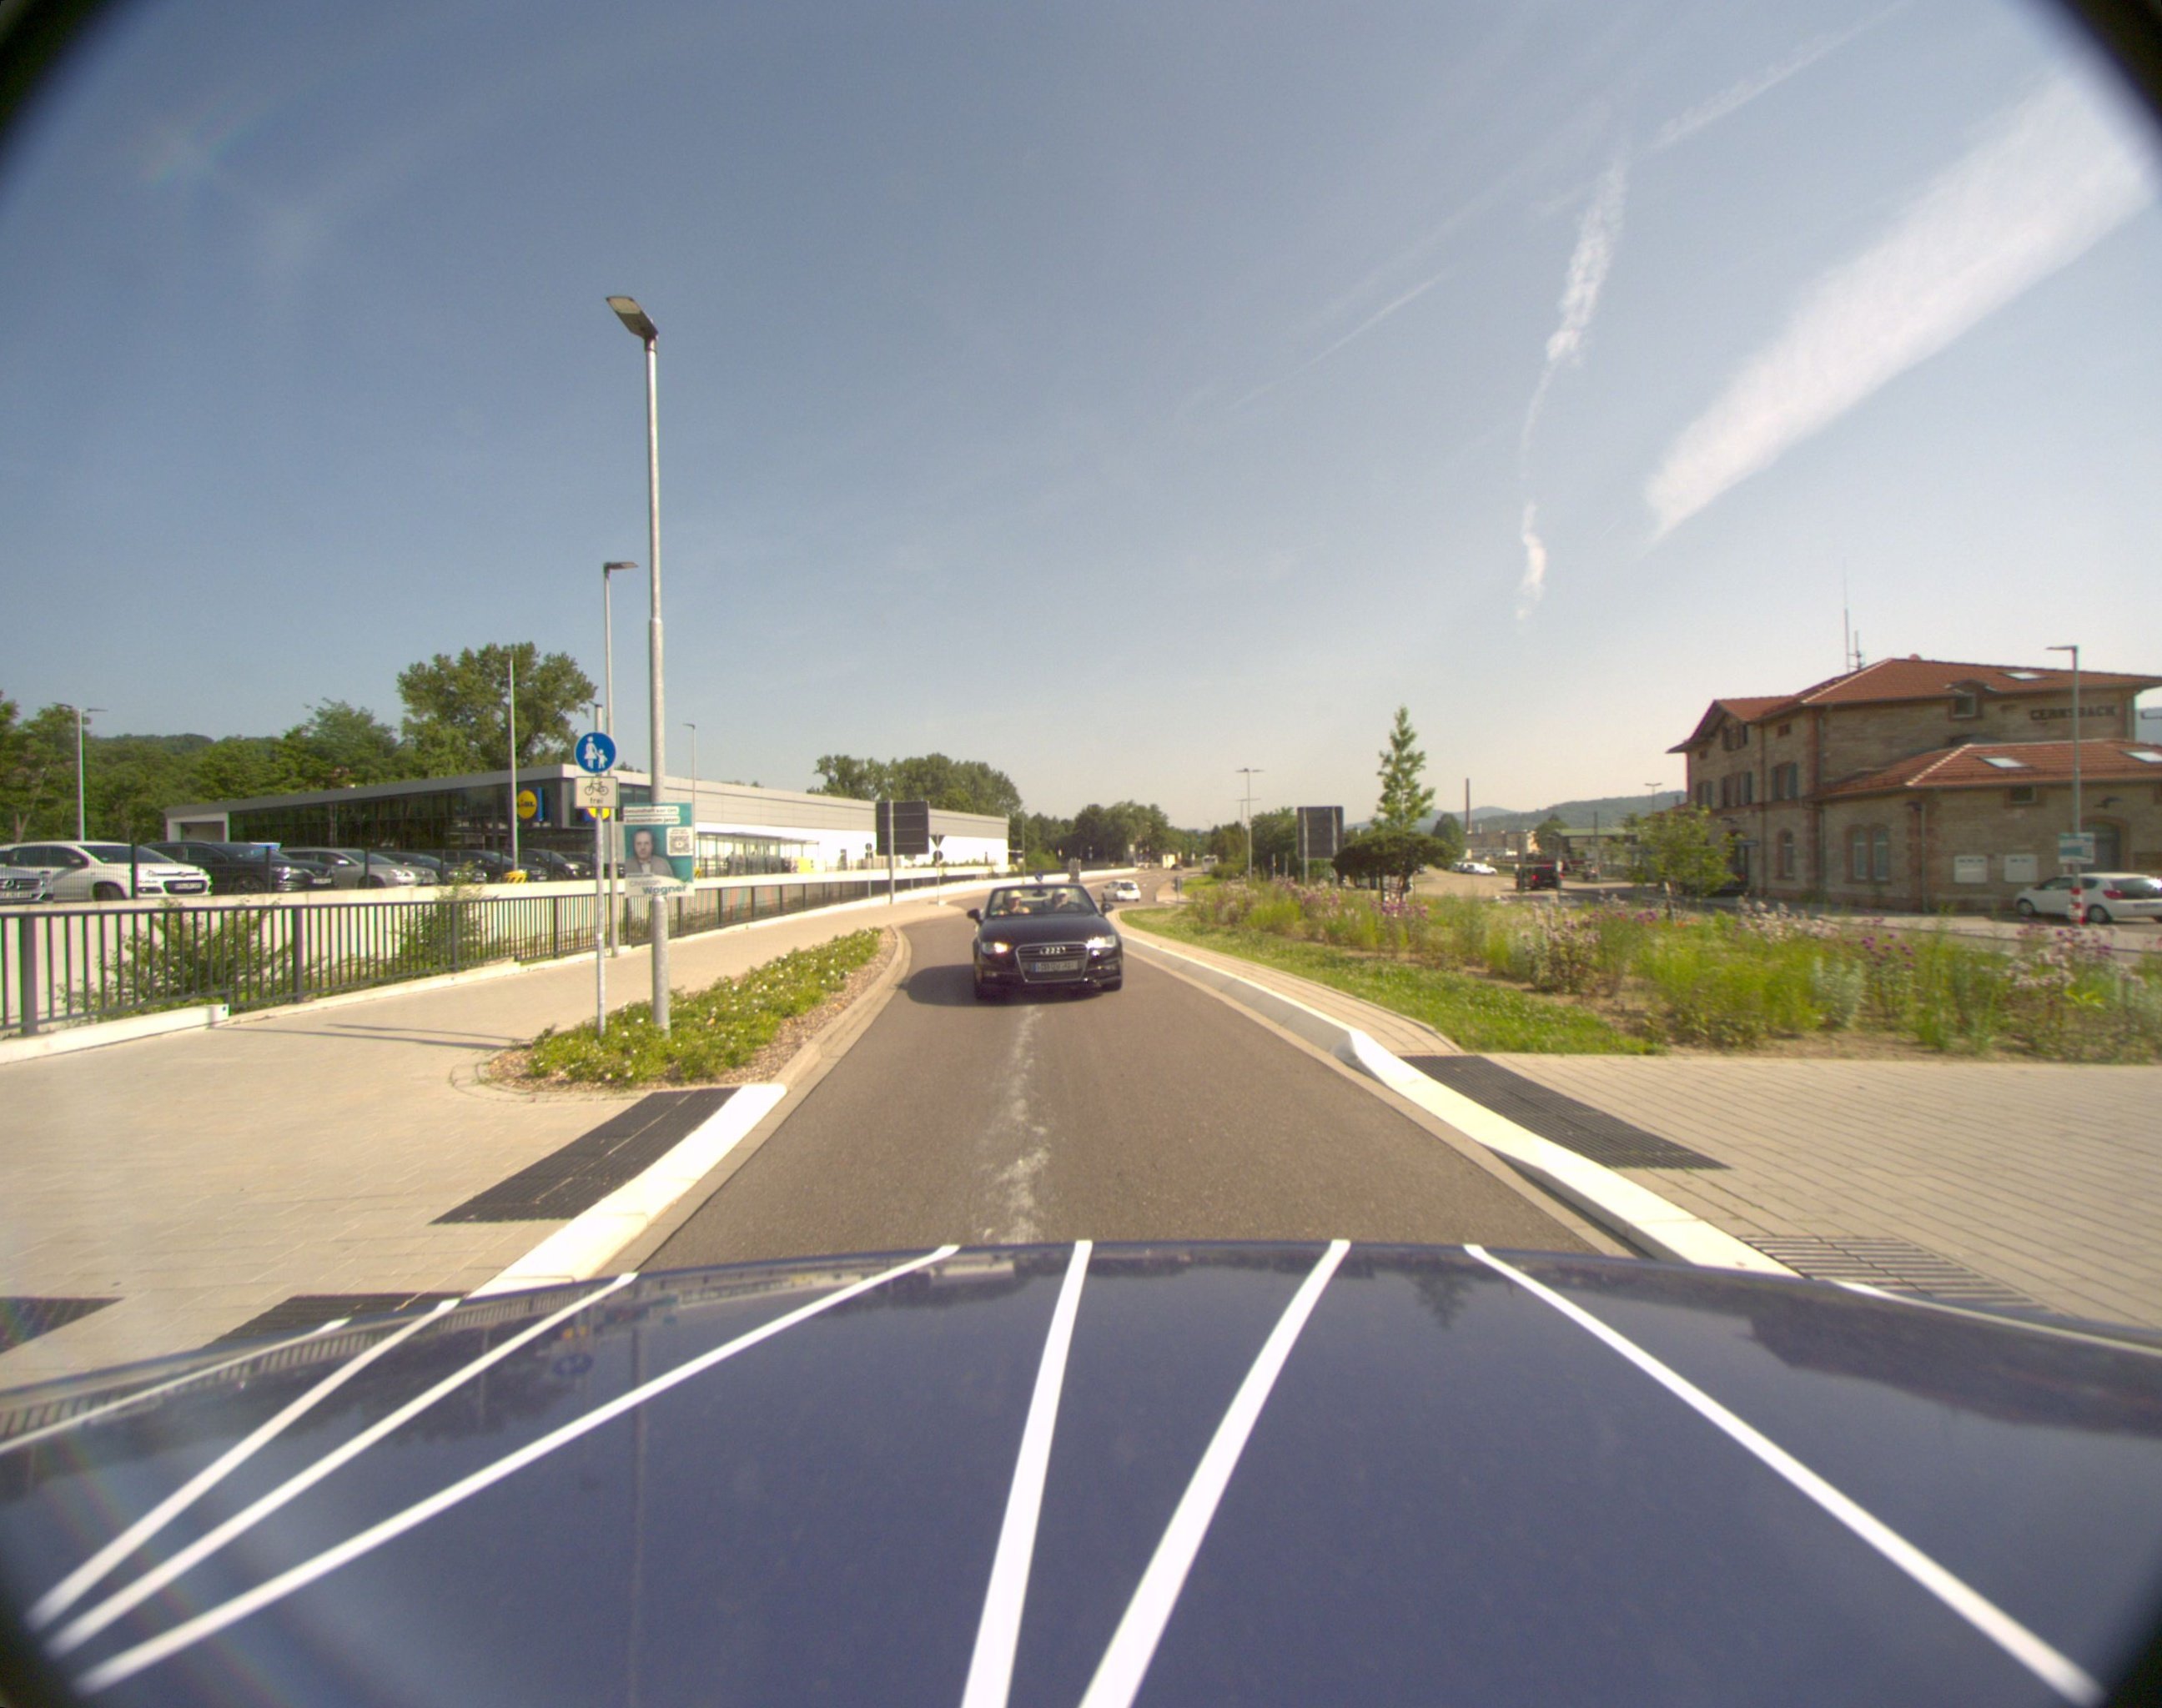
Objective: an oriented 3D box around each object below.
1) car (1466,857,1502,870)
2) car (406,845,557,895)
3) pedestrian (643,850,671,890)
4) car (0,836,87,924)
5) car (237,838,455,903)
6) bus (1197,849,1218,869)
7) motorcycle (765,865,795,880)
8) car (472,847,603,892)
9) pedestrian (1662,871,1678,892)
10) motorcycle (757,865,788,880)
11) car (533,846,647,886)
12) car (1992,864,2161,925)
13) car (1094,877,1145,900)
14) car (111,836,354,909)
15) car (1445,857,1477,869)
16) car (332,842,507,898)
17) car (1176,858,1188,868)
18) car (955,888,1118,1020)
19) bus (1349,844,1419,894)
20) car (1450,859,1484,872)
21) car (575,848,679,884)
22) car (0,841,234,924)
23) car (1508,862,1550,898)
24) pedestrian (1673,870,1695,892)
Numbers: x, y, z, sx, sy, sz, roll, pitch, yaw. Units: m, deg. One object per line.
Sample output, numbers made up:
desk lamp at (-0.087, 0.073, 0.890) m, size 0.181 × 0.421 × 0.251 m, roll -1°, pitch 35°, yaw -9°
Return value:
car at (56.823, 1.341, 107.234) m, size 3.997 × 1.717 × 1.838 m, roll -3°, pitch 0°, yaw 0°
car at (-21.920, 0.578, 27.925) m, size 3.999 × 1.564 × 1.703 m, roll -3°, pitch 0°, yaw -6°
pedestrian at (-22.340, 0.831, 40.003) m, size 0.832 × 2.002 × 0.864 m, roll -3°, pitch 0°, yaw 10°
car at (-21.283, 0.584, 13.743) m, size 4.020 × 1.564 × 1.779 m, roll -3°, pitch 0°, yaw -3°
car at (-21.339, 0.474, 22.231) m, size 4.415 × 1.564 × 1.703 m, roll -3°, pitch 0°, yaw -6°
bus at (21.284, 0.824, 127.864) m, size 2.865 × 3.173 × 9.127 m, roll -2°, pitch 0°, yaw 13°
motorcycle at (-20.678, 1.268, 52.215) m, size 1.880 × 0.858 × 0.626 m, roll -3°, pitch 0°, yaw -23°
car at (-22.267, 0.619, 31.256) m, size 3.999 × 1.564 × 1.703 m, roll -3°, pitch 0°, yaw -6°
pedestrian at (34.315, 1.595, 44.267) m, size 0.511 × 1.155 × 0.507 m, roll -3°, pitch 0°, yaw 20°
motorcycle at (-20.739, 1.258, 51.108) m, size 1.880 × 0.858 × 0.626 m, roll -3°, pitch 0°, yaw -23°
car at (-22.549, 0.563, 35.007) m, size 3.999 × 1.564 × 1.703 m, roll -3°, pitch 0°, yaw -6°
car at (31.371, 1.212, 23.848) m, size 1.677 × 1.559 × 3.654 m, roll -3°, pitch 1°, yaw 14°
car at (2.559, 2.325, 51.494) m, size 1.784 × 1.390 × 3.993 m, roll -3°, pitch -1°, yaw -25°
car at (-21.598, 0.456, 19.491) m, size 3.999 × 1.564 × 1.703 m, roll -3°, pitch 0°, yaw -6°
car at (58.363, 1.369, 116.703) m, size 3.997 × 1.717 × 1.838 m, roll -3°, pitch 0°, yaw 0°
car at (-21.461, 0.513, 24.790) m, size 3.999 × 1.564 × 1.703 m, roll -3°, pitch 0°, yaw -6°
car at (21.042, 1.862, 158.456) m, size 1.885 × 1.783 × 4.000 m, roll -3°, pitch -1°, yaw 1°
car at (-0.680, 1.174, 10.345) m, size 1.722 × 1.314 × 4.223 m, roll -2°, pitch -2°, yaw -6°
bus at (22.919, 1.047, 58.059) m, size 2.585 × 3.309 × 10.597 m, roll -3°, pitch -1°, yaw 10°
car at (57.066, 1.677, 112.372) m, size 3.997 × 1.717 × 1.838 m, roll -3°, pitch 0°, yaw 0°
car at (-22.991, 0.611, 38.575) m, size 4.130 × 1.564 × 1.703 m, roll -3°, pitch 0°, yaw -6°
car at (-21.664, 0.641, 16.636) m, size 3.999 × 1.564 × 1.703 m, roll -3°, pitch 0°, yaw -6°
car at (28.342, 1.592, 48.173) m, size 1.974 × 1.953 × 5.166 m, roll -3°, pitch -1°, yaw 28°
pedestrian at (33.548, 1.518, 42.245) m, size 0.789 × 1.155 × 0.507 m, roll -3°, pitch 0°, yaw 20°
